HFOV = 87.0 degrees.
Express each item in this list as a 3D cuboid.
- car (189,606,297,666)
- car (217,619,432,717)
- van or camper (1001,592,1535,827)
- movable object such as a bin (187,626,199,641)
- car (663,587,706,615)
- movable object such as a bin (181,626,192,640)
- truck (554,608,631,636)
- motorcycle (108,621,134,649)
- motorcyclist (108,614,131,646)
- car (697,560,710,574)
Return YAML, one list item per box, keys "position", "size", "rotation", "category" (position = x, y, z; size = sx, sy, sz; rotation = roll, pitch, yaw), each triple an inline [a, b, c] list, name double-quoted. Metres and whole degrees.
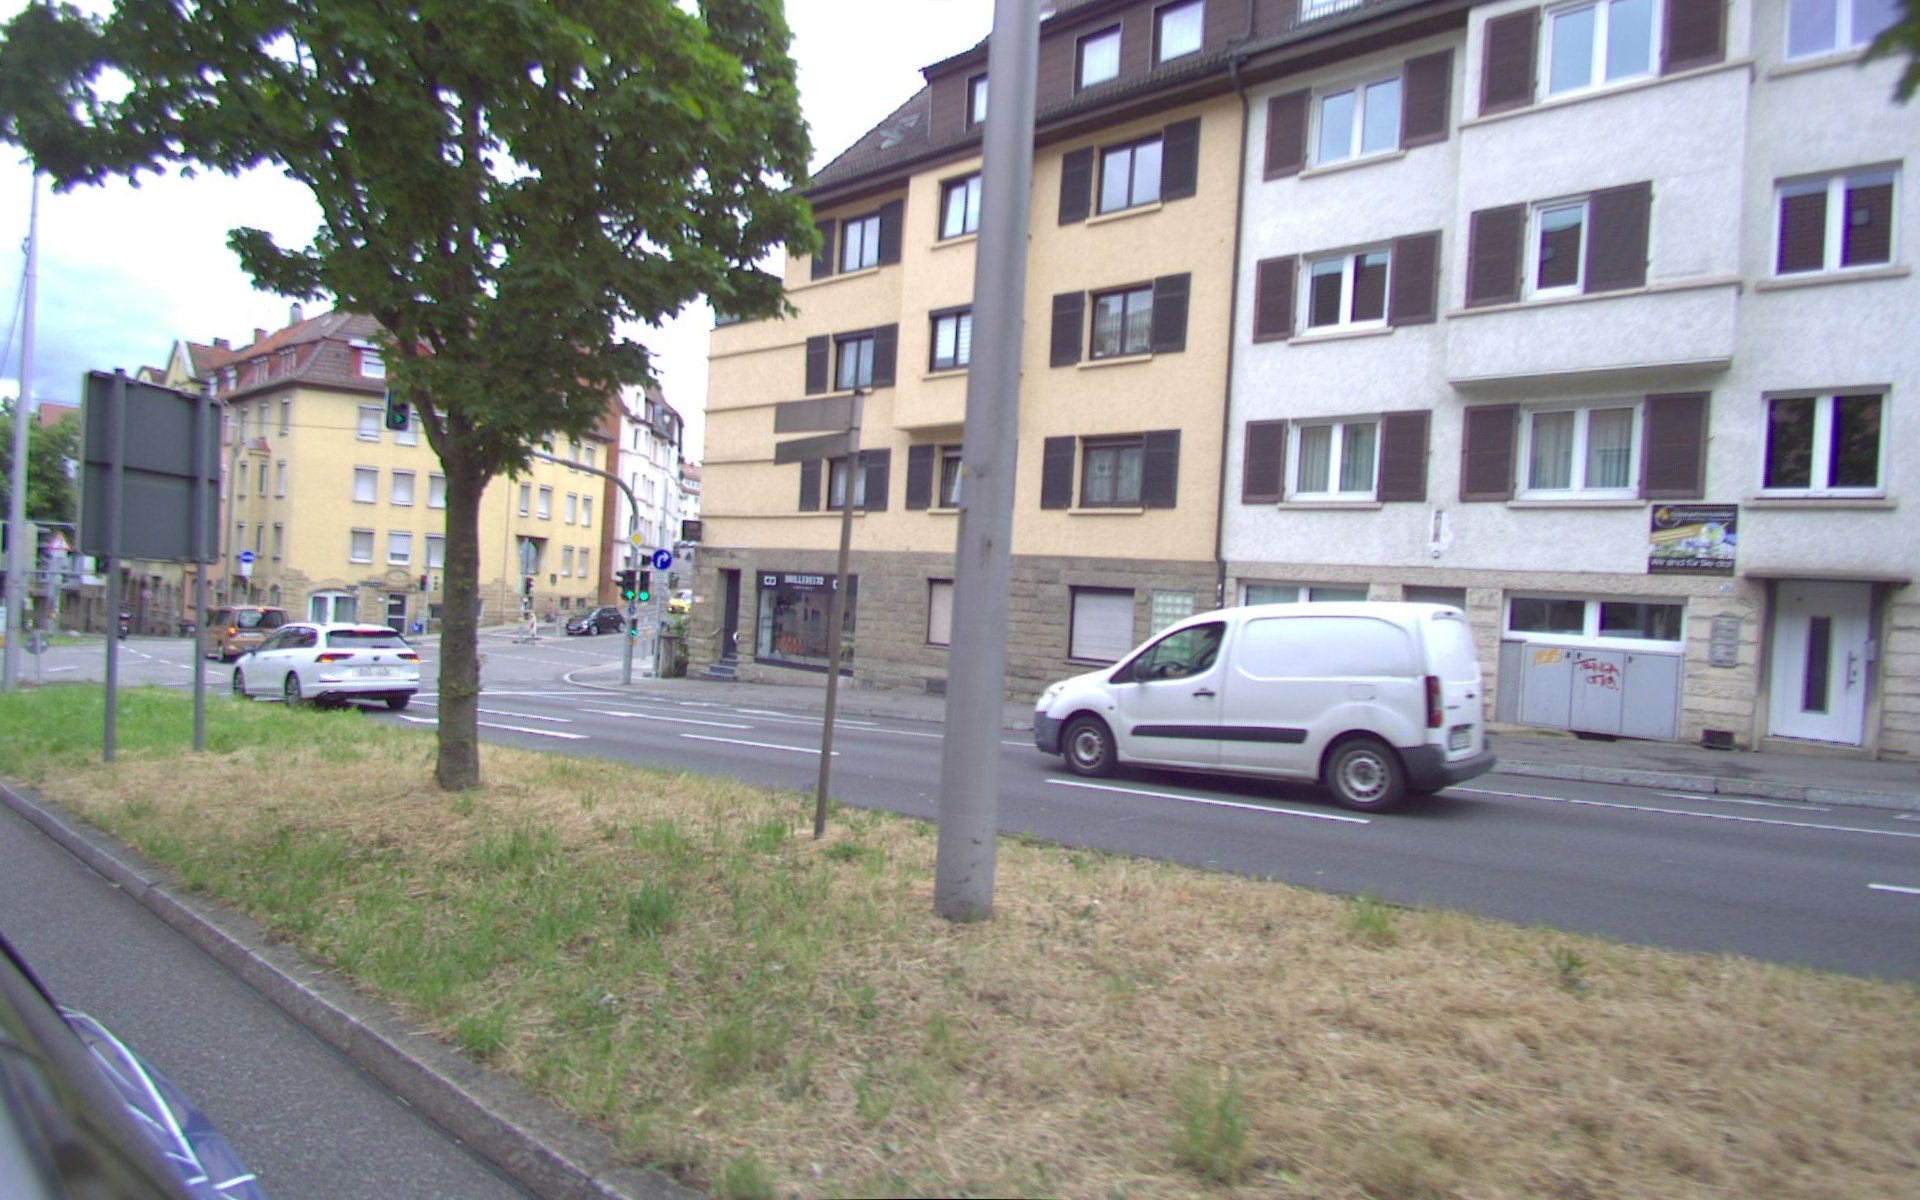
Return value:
- position: [-23.323, 1.194, 32.877]
  size: [4.348, 1.830, 1.860]
  rotation: [-3, -3, 41]
  category: "car"
- position: [-11.036, 1.086, 17.442]
  size: [4.581, 1.478, 1.728]
  rotation: [-1, -3, 39]
  category: "car"
- position: [2.816, 0.886, 9.915]
  size: [4.651, 1.775, 1.888]
  rotation: [-1, -3, 40]
  category: "van or camper"
- position: [-45.370, 1.979, 59.858]
  size: [0.449, 0.871, 0.480]
  rotation: [-1, -4, 45]
  category: "movable object such as a bin"
- position: [-19.012, 0.092, 69.936]
  size: [1.837, 1.734, 3.854]
  rotation: [1, -2, 1]
  category: "car"
- position: [-46.723, 1.997, 61.130]
  size: [0.449, 0.871, 0.480]
  rotation: [-1, -4, 45]
  category: "movable object such as a bin"
- position: [-19.445, 1.159, 53.754]
  size: [1.837, 1.429, 3.977]
  rotation: [0, -1, 18]
  category: "truck"
- position: [-38.427, 1.601, 46.330]
  size: [2.204, 1.193, 0.539]
  rotation: [0, -1, 41]
  category: "motorcycle"
- position: [-38.587, 1.374, 46.460]
  size: [0.662, 1.486, 0.665]
  rotation: [0, -1, 41]
  category: "motorcyclist"
- position: [-37.956, -4.870, 149.784]
  size: [1.832, 1.734, 3.866]
  rotation: [1, -2, -15]
  category: "car"
